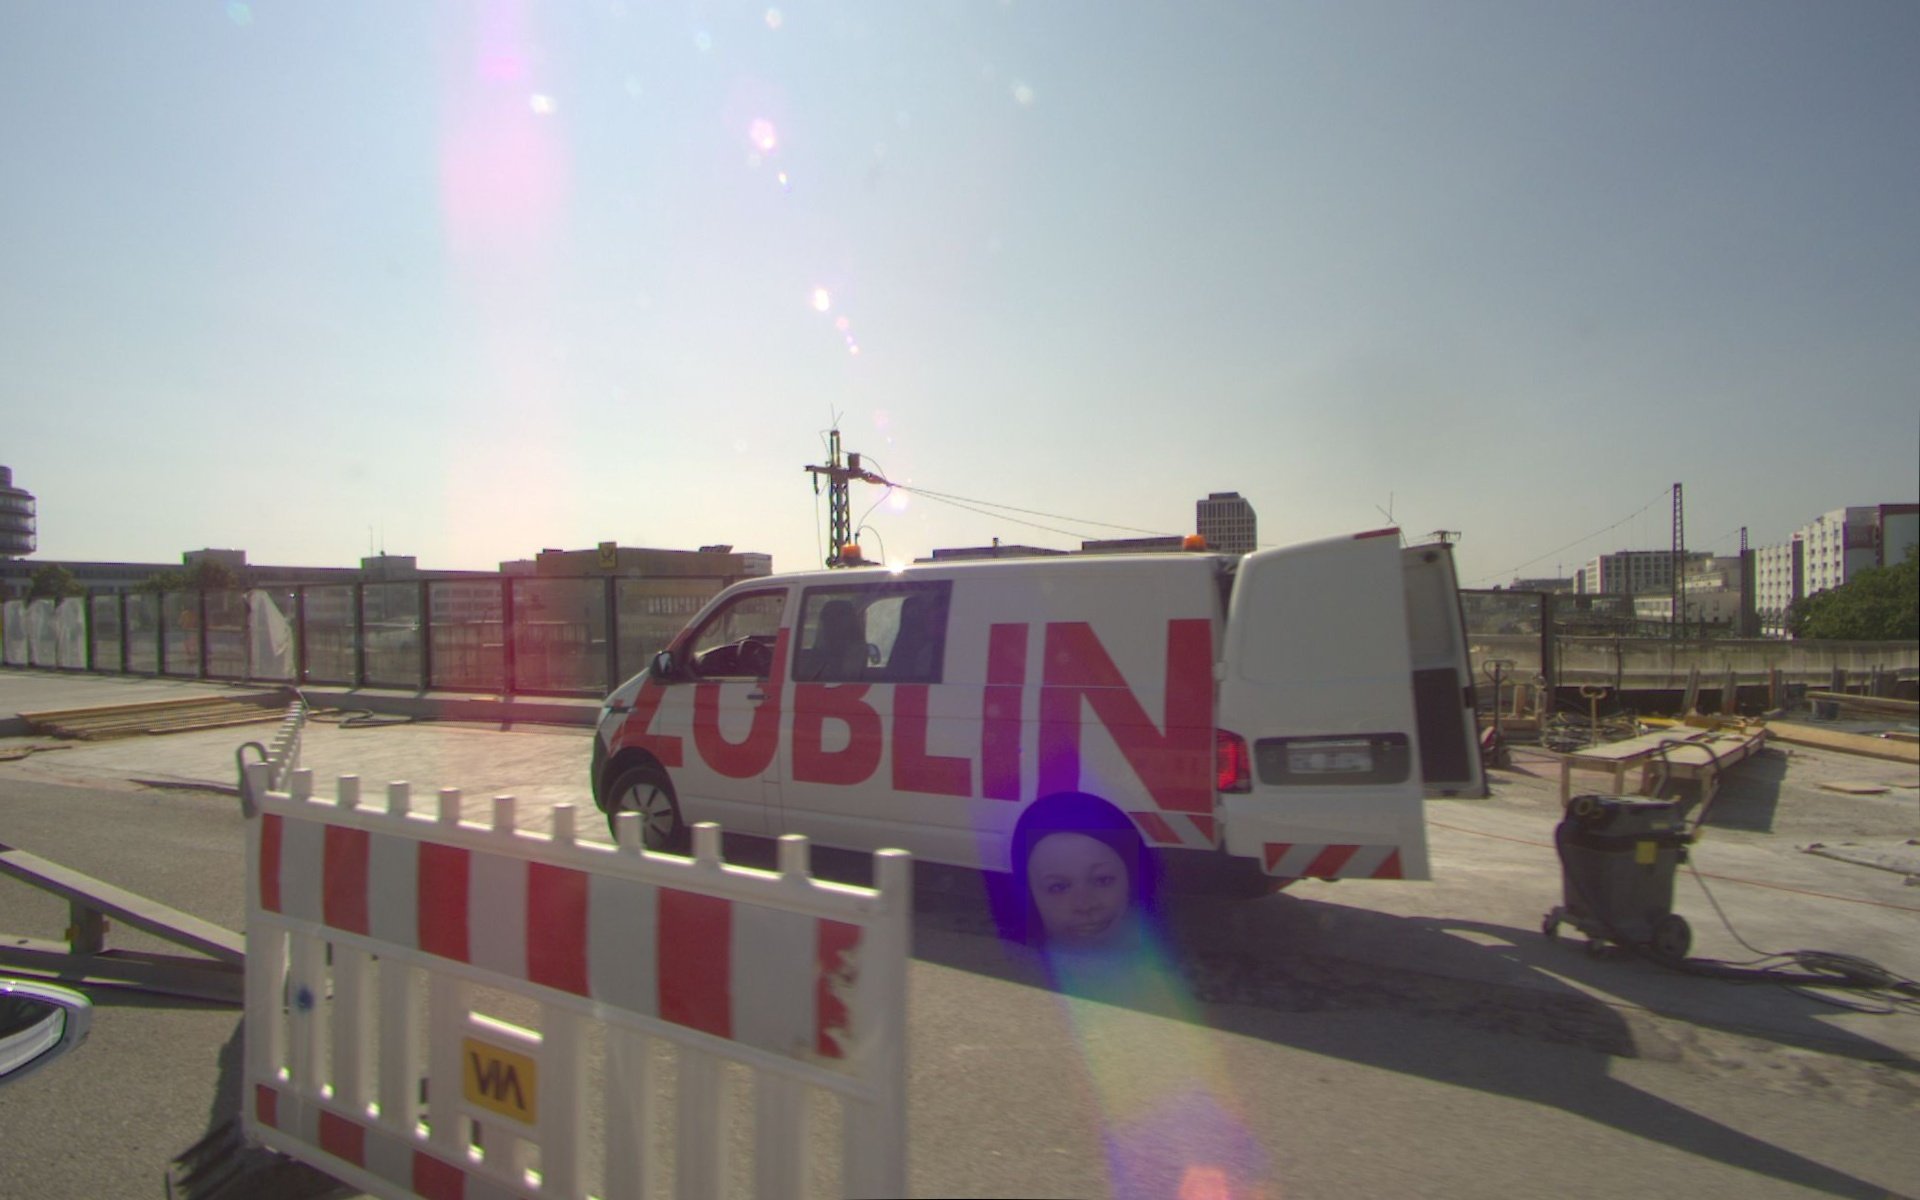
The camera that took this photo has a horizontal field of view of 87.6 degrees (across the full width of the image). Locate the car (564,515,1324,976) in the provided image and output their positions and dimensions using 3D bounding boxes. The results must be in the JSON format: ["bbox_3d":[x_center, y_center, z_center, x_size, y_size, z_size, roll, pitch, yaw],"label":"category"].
[{"bbox_3d":[-0.312,0.706,6.607,4.823,2.059,1.875,-1,-1,34],"label":"car"}]

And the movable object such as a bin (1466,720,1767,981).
[{"bbox_3d":[3.297,1.208,5.108,0.925,1.088,0.891,0,0,-12],"label":"movable object such as a bin"}]
